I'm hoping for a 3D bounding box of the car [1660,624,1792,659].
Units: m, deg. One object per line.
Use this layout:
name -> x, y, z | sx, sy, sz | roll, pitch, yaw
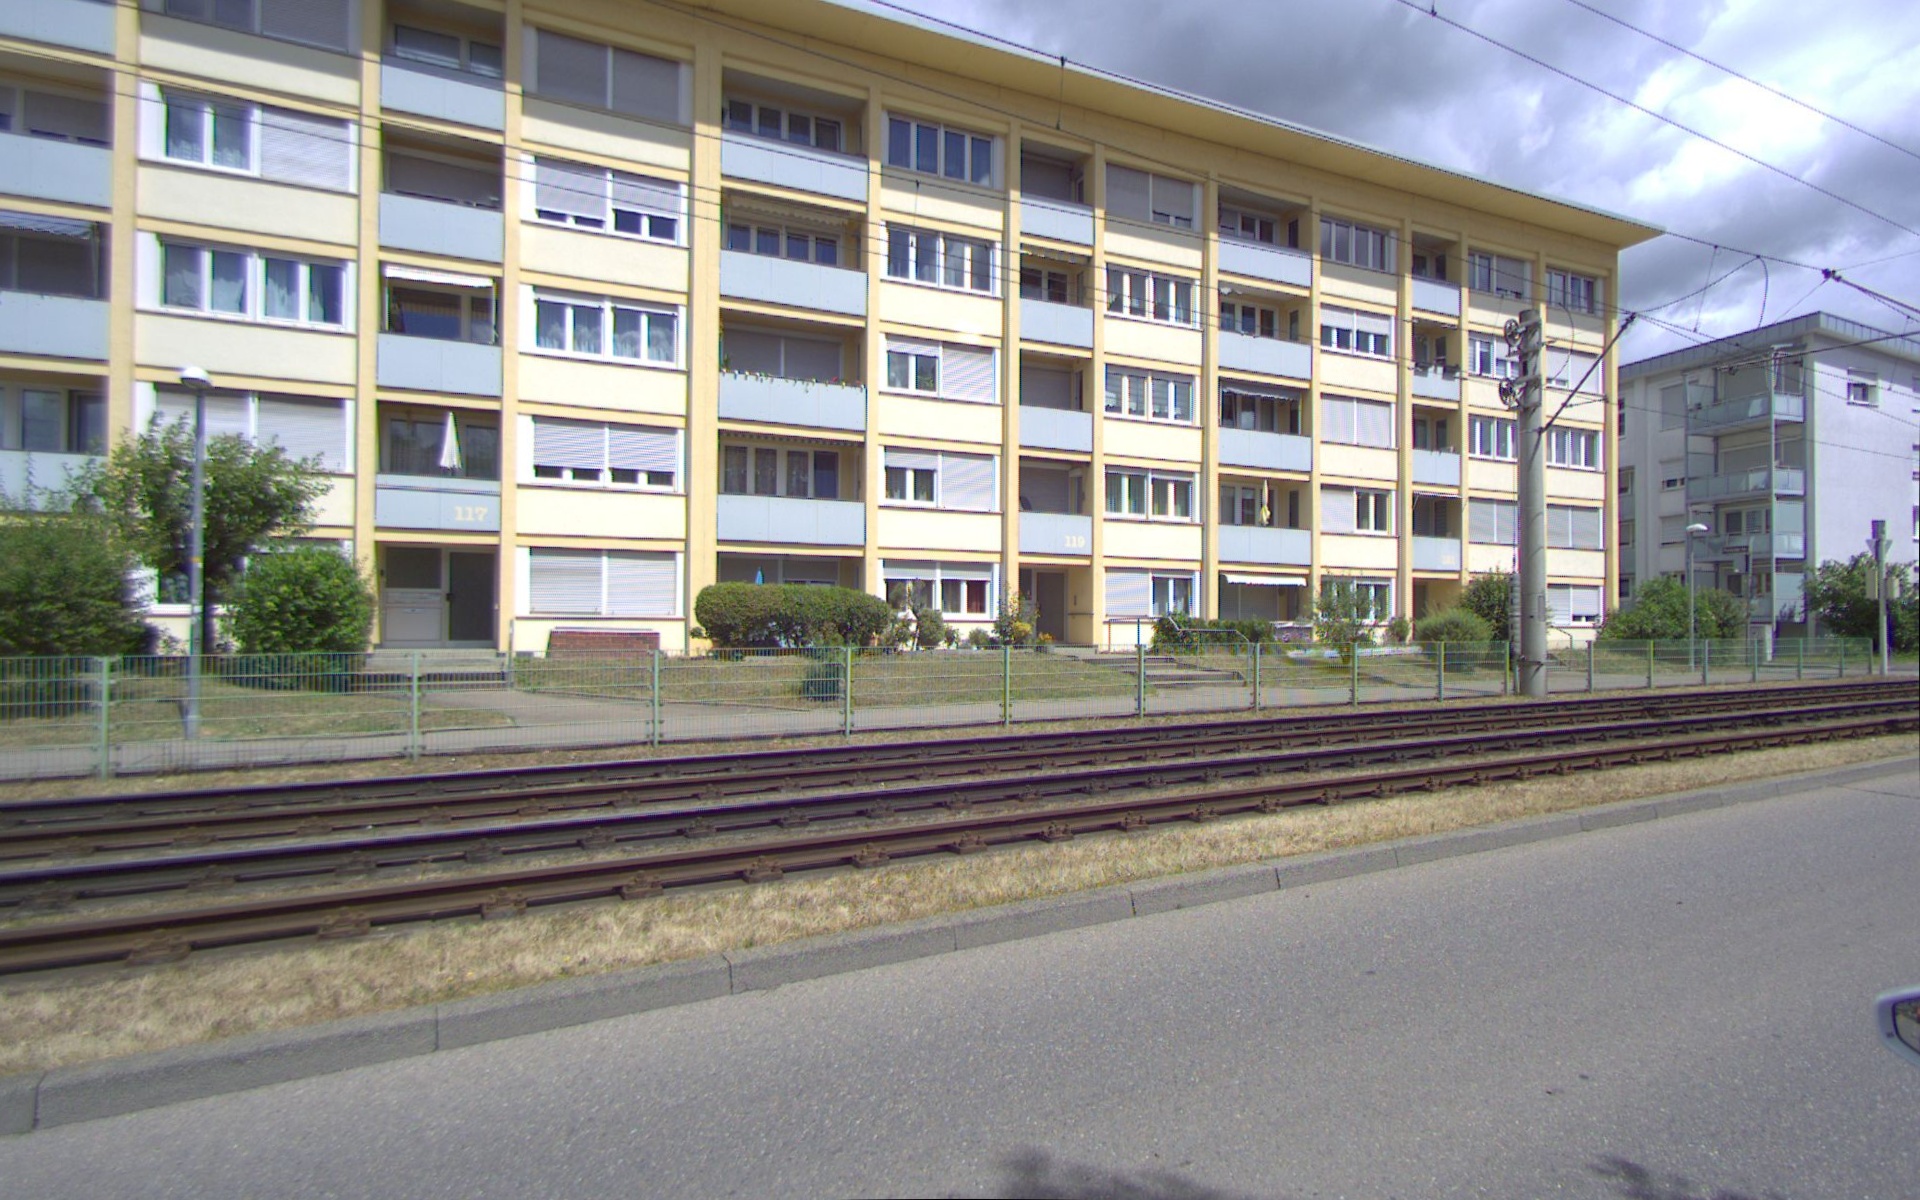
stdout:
car -> 31.591, 1.687, 41.541 | 1.873, 1.363, 3.981 | 1, -1, -21
